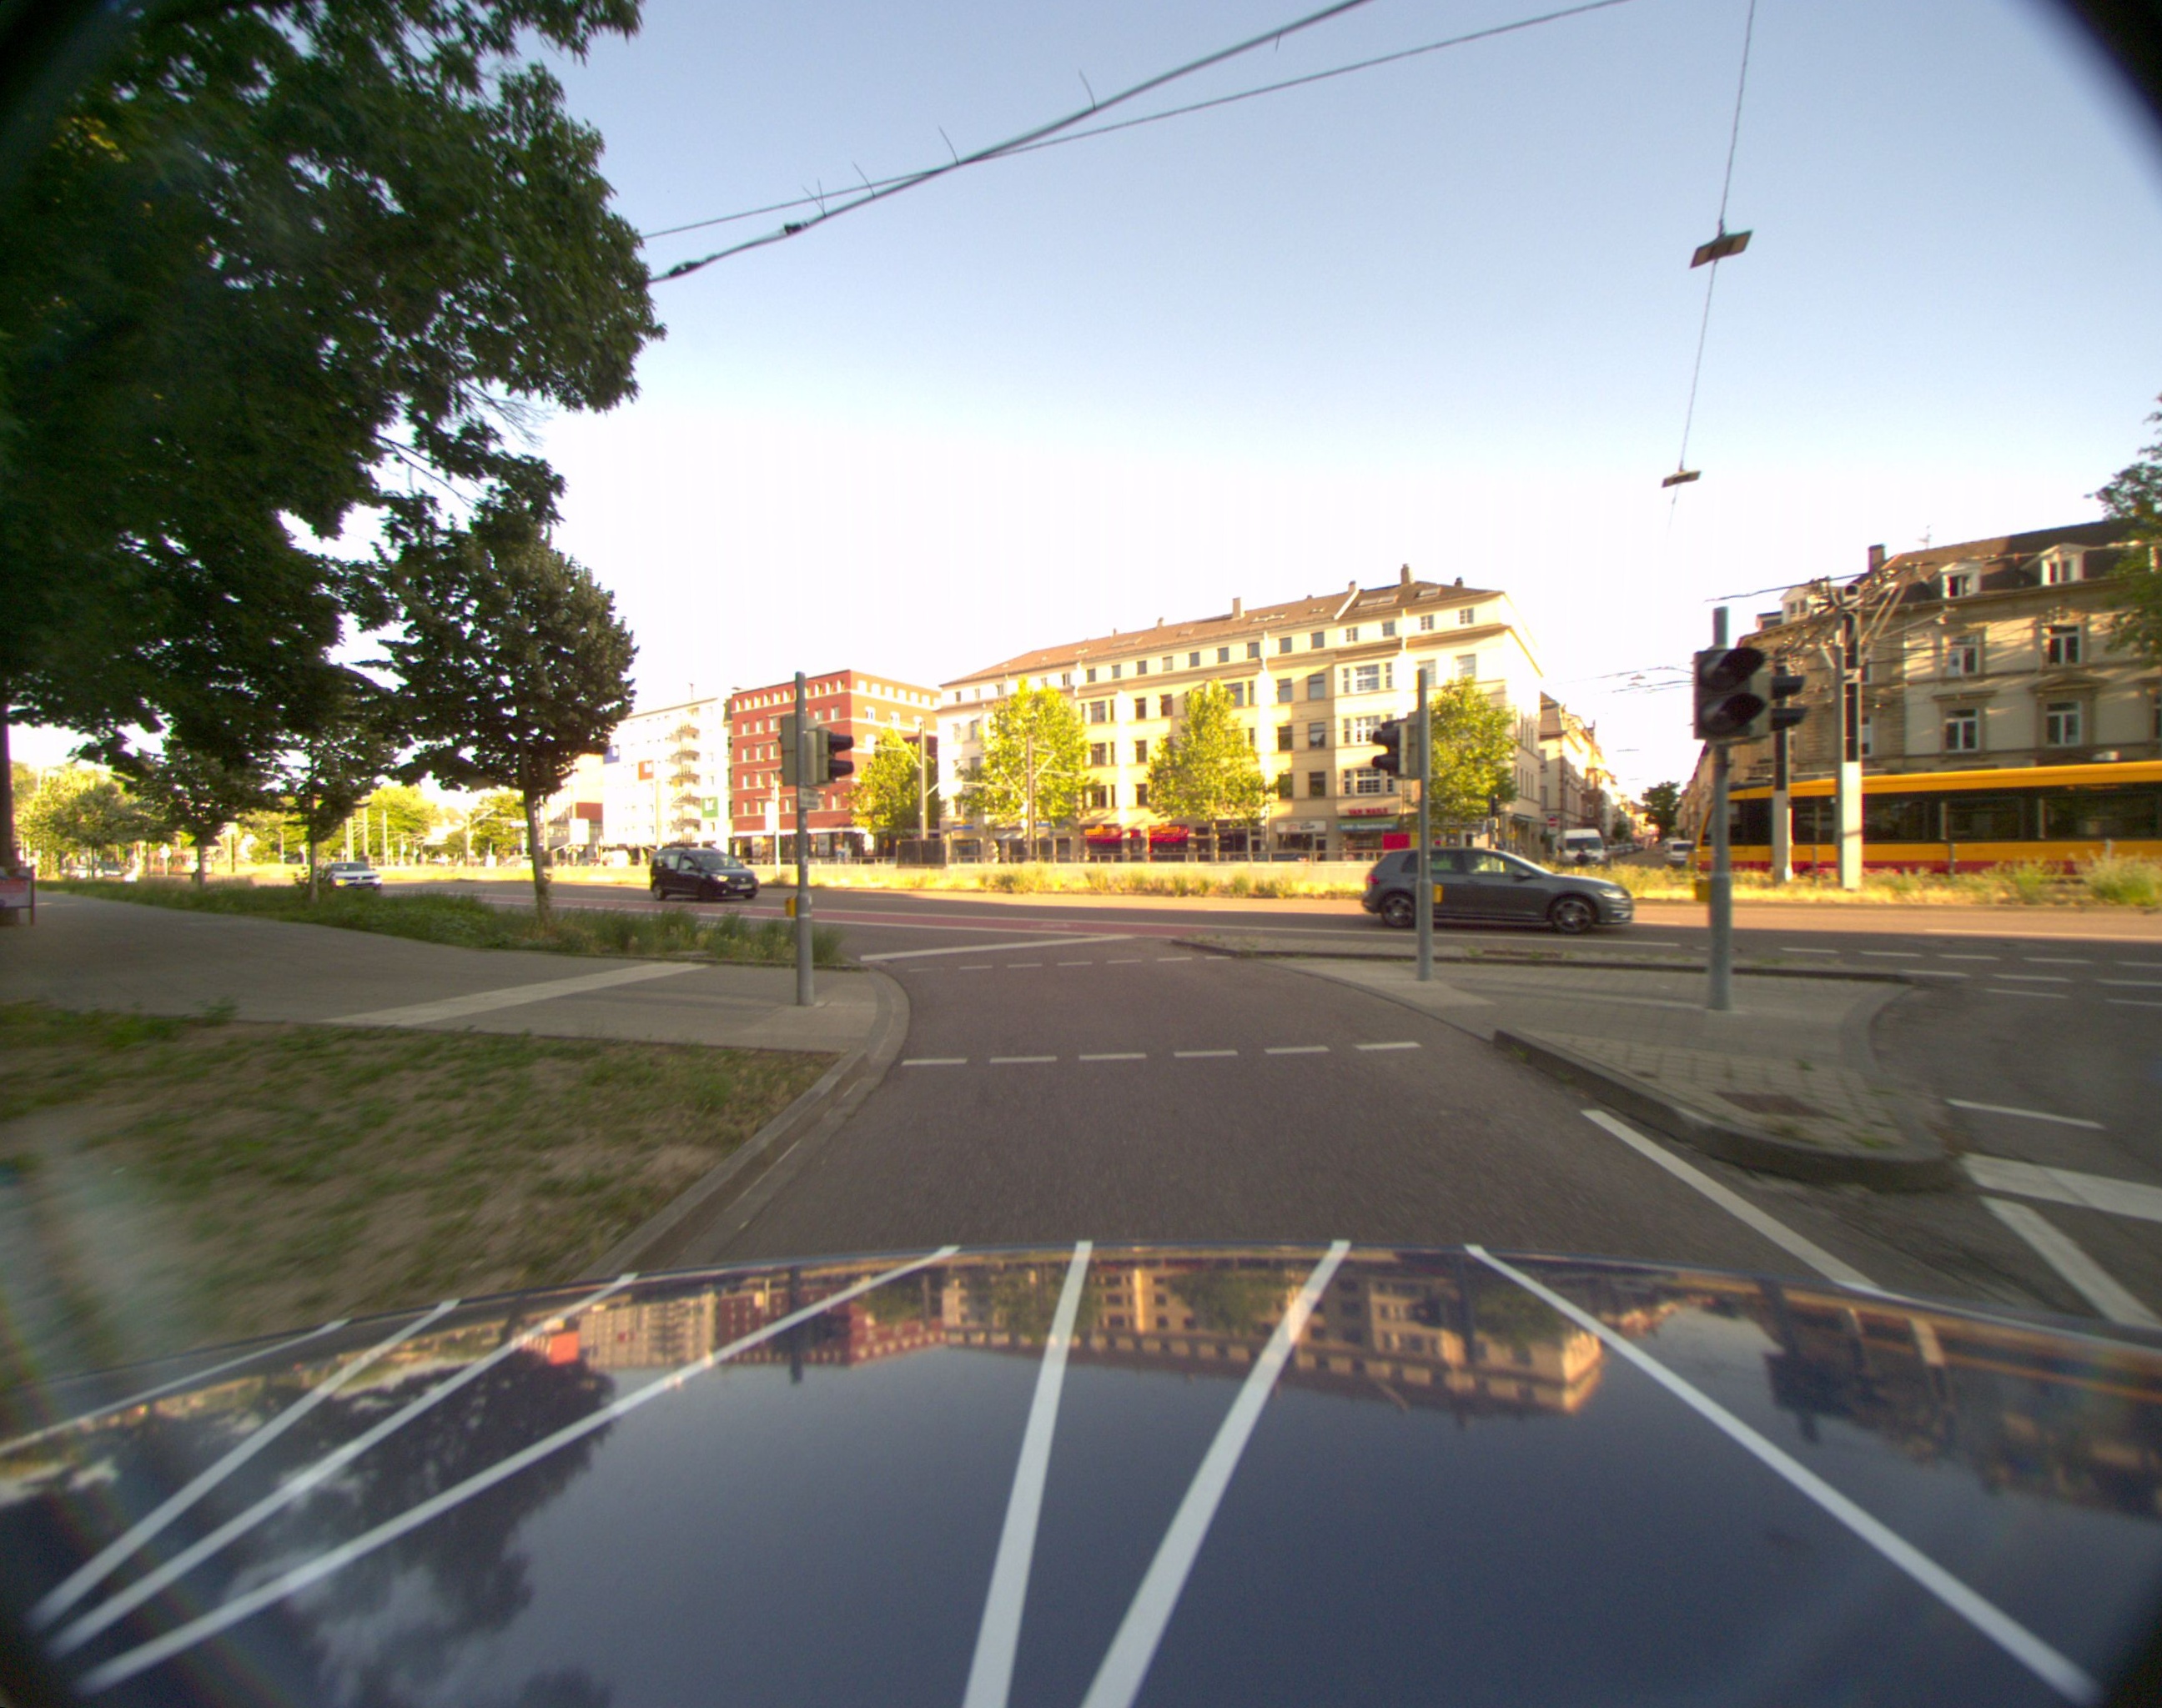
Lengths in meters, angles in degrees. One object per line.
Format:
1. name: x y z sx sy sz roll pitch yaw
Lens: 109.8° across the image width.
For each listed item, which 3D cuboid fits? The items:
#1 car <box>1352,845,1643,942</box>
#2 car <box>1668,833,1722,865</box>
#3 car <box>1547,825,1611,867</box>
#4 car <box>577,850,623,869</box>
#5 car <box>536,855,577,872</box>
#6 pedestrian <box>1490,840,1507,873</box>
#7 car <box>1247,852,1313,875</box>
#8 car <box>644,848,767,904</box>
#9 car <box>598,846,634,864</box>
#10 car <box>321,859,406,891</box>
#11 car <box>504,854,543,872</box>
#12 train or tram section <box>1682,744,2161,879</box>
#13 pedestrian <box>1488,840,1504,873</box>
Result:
1. car: 7.203 0.631 13.397 4.233 1.418 1.774 -1 2 33
2. car: 37.258 -0.316 46.190 1.981 1.876 4.707 0 1 32
3. car: 29.090 -0.436 44.625 2.464 2.253 7.304 0 1 28
4. car: -47.468 0.524 74.961 4.965 1.808 2.004 -1 1 35
5. car: -56.599 1.012 81.913 4.881 1.787 2.004 -1 1 35
6. pedestrian: 24.574 0.165 44.743 0.633 1.908 0.585 -3 3 -19
7. car: 12.492 0.577 47.774 3.699 1.325 1.461 0 3 34
8. car: -12.703 0.702 25.663 4.136 1.722 1.774 -1 1 32
9. car: -56.303 0.122 91.998 4.560 2.121 1.963 -1 0 33
10. car: -37.288 1.075 39.469 4.267 1.529 1.838 -1 2 28
11. car: -63.992 1.026 87.176 4.761 2.002 2.004 0 1 32
12. train or tram section: 28.563 -1.130 21.912 17.426 3.538 3.129 0 1 42
13. pedestrian: 24.775 0.131 45.377 0.633 1.908 0.585 -2 3 -9
